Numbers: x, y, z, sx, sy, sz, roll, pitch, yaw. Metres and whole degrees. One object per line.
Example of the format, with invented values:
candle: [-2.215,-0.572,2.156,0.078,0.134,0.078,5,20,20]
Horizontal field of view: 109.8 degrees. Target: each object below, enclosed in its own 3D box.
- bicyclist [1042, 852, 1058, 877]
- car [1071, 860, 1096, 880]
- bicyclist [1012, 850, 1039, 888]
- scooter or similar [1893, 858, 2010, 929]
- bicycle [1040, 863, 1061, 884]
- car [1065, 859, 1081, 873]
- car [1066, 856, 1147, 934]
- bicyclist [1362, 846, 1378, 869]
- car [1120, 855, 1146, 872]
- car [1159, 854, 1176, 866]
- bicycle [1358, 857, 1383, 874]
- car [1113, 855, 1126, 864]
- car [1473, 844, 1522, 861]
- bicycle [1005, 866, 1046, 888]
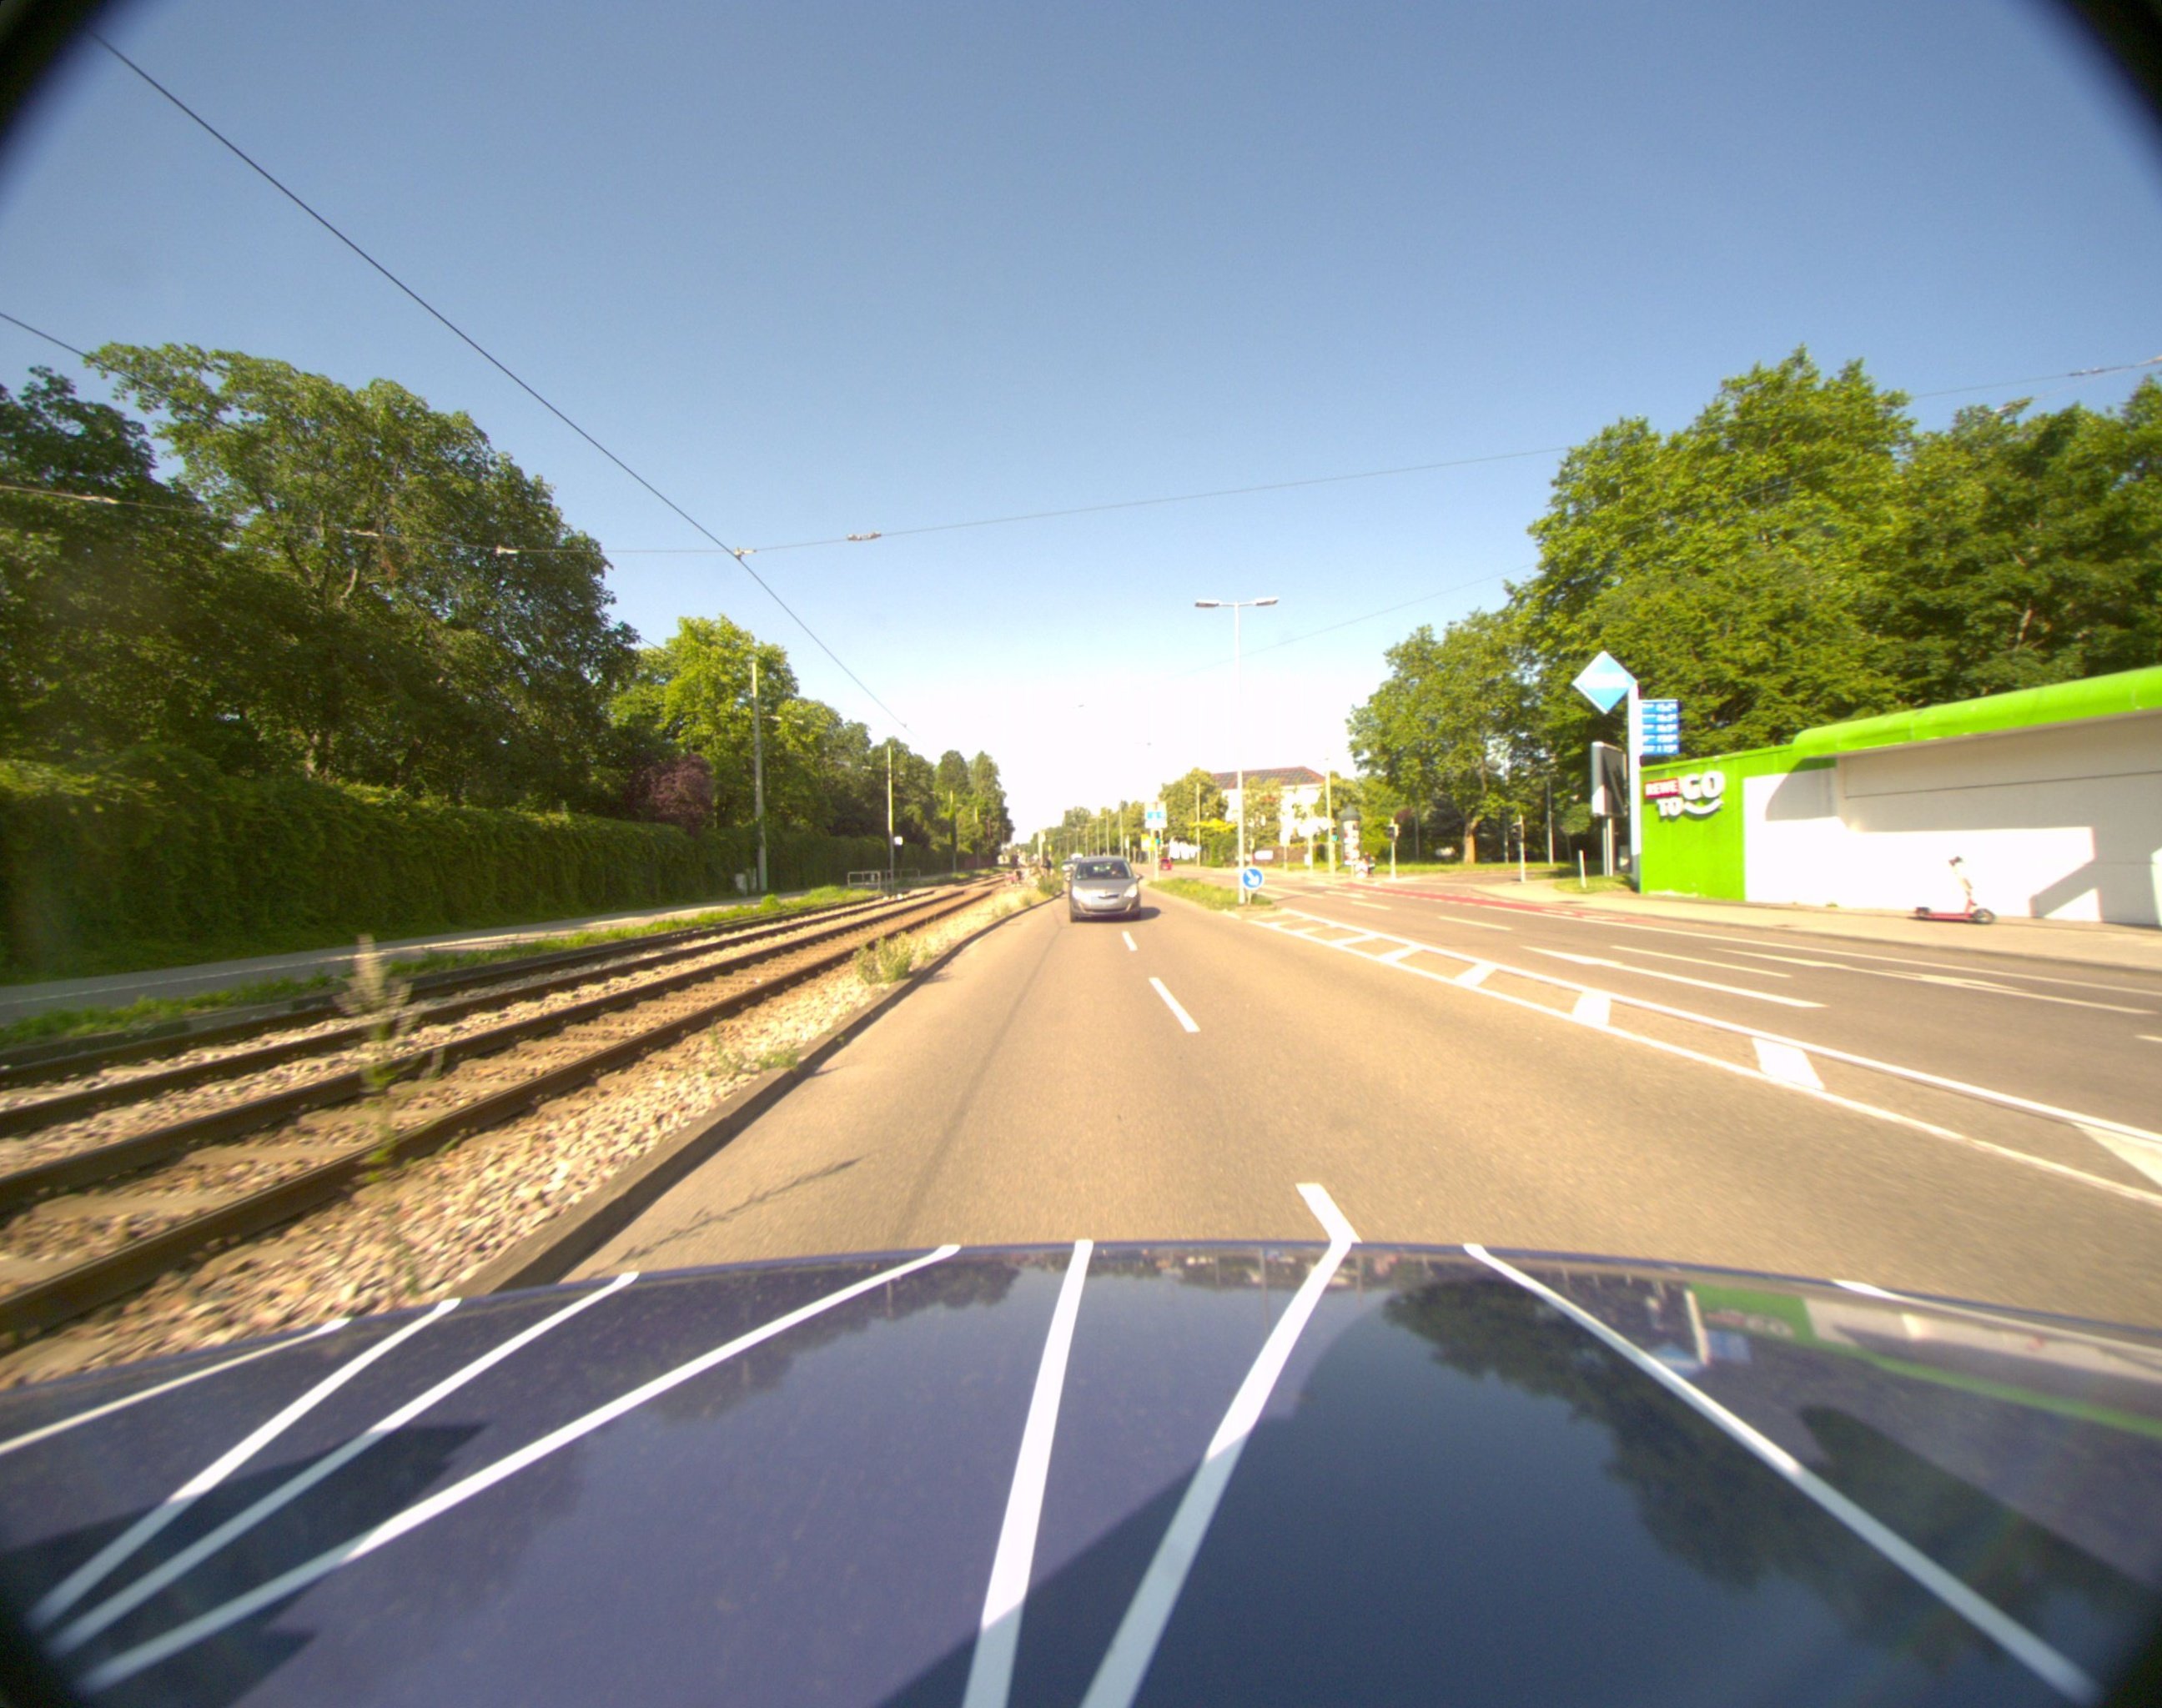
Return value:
bicyclist: [-1.810,0.624,44.882,0.644,1.407,1.014,-1,0,16]
car: [0.180,1.271,62.777,1.710,1.513,3.832,-3,0,-3]
bicyclist: [-2.935,0.792,40.057,1.034,1.982,0.949,-1,1,24]
scooter or similar: [15.771,0.683,13.807,0.533,1.167,1.310,-6,0,3]
bicycle: [-1.798,1.135,45.007,0.644,1.147,1.939,2,1,16]
car: [-0.942,1.341,87.182,1.710,1.513,3.832,-3,0,-2]
car: [0.532,0.880,18.150,1.650,1.581,3.833,-3,0,0]
bicyclist: [18.242,0.198,47.999,0.663,1.444,1.051,-1,0,3]
car: [4.950,0.933,73.441,1.765,1.477,4.643,-3,0,-4]
car: [10.499,0.745,92.364,1.578,1.408,3.333,-1,0,0]
bicycle: [18.253,0.728,48.010,0.663,1.043,2.581,-1,0,3]
car: [6.423,0.867,127.193,1.657,1.387,4.133,-1,0,-2]
car: [37.319,-0.127,68.130,3.421,1.300,1.509,-3,1,6]
bicycle: [-2.919,1.235,40.057,1.922,1.108,0.949,-1,0,24]
